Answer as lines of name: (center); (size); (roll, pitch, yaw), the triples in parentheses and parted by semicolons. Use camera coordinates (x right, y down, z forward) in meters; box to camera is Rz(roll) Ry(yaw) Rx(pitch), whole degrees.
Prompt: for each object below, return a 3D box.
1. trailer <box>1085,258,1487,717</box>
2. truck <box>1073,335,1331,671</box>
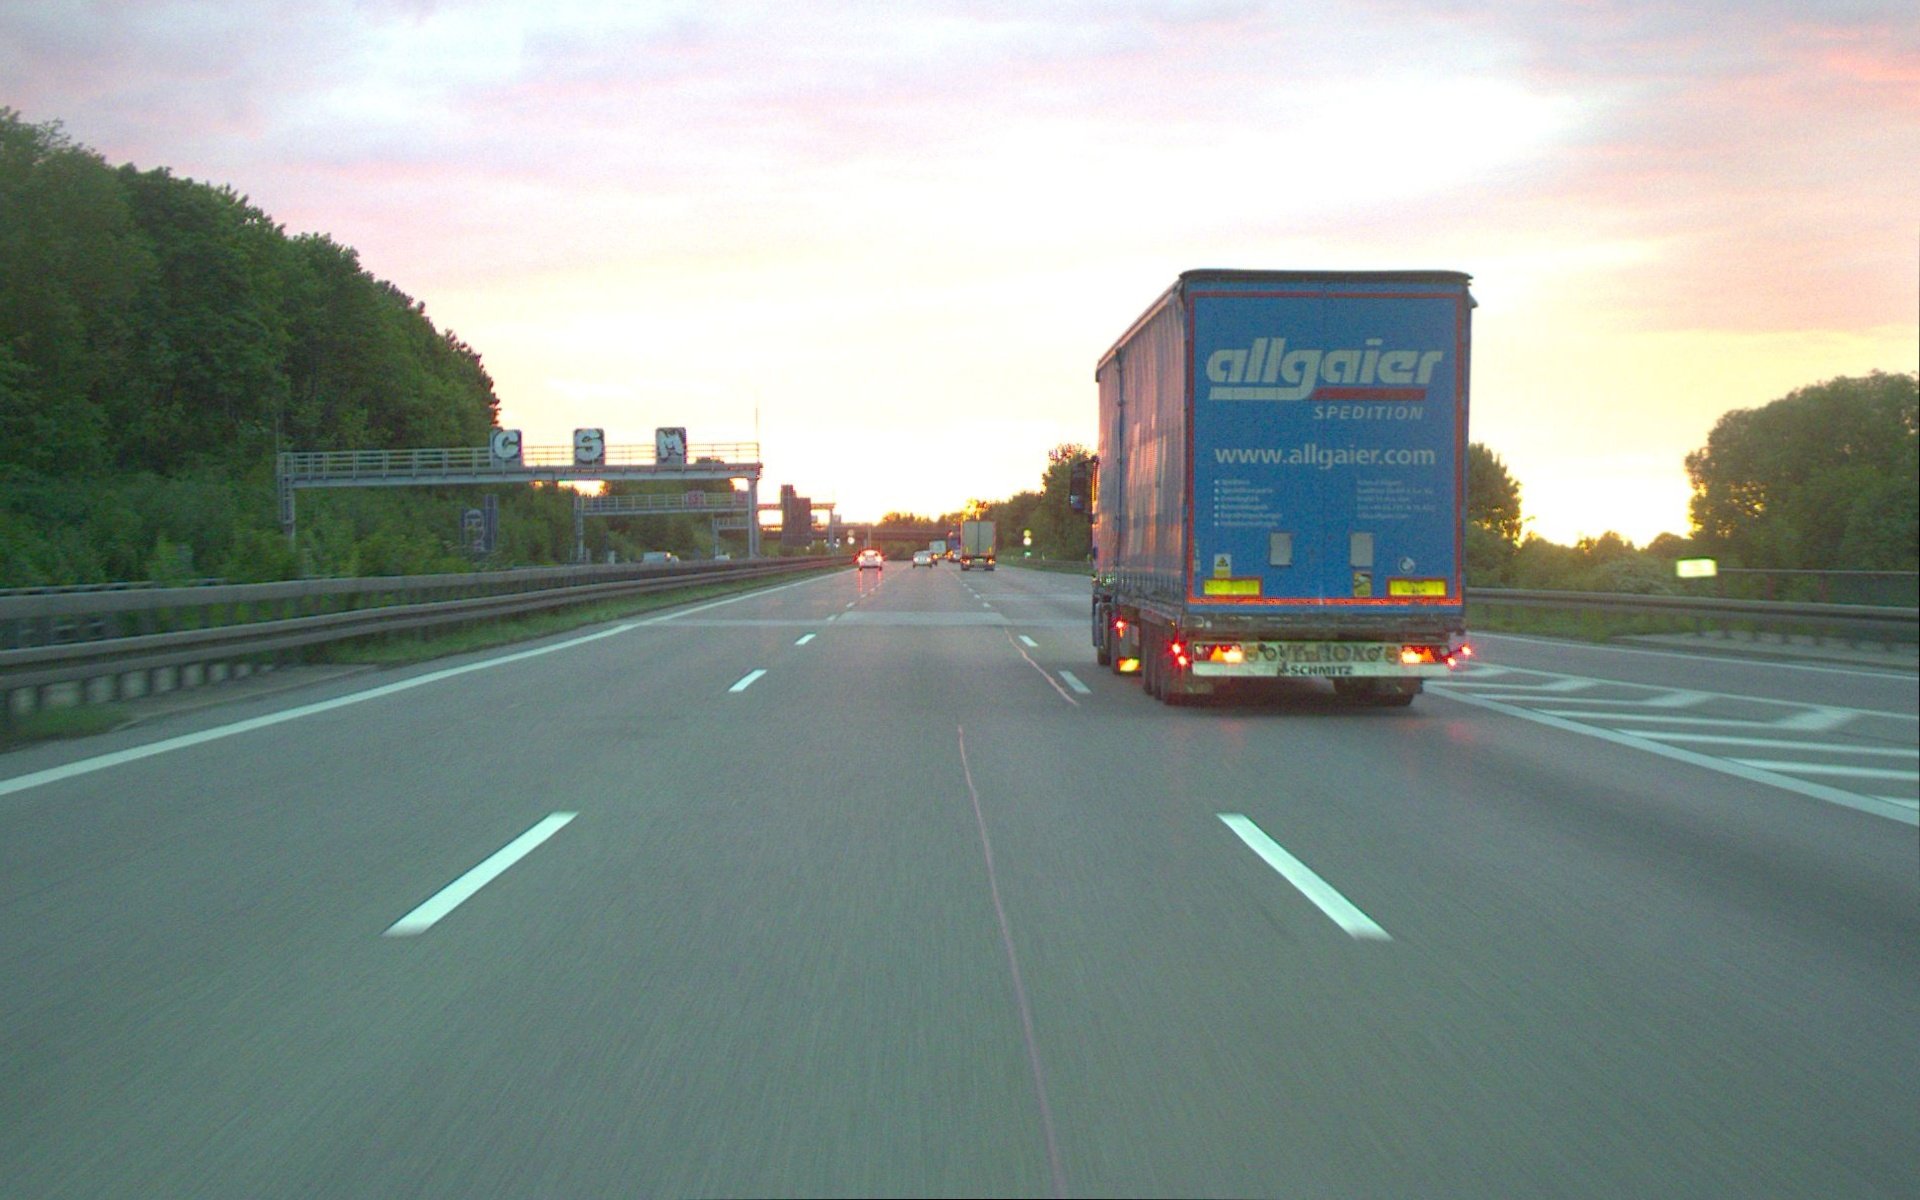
trailer: (3.160, -1.093, 37.526); (2.771, 4.072, 13.740); (0, 1, -1)
truck: (2.991, -1.195, 43.972); (2.736, 3.983, 5.850); (0, 1, -1)
